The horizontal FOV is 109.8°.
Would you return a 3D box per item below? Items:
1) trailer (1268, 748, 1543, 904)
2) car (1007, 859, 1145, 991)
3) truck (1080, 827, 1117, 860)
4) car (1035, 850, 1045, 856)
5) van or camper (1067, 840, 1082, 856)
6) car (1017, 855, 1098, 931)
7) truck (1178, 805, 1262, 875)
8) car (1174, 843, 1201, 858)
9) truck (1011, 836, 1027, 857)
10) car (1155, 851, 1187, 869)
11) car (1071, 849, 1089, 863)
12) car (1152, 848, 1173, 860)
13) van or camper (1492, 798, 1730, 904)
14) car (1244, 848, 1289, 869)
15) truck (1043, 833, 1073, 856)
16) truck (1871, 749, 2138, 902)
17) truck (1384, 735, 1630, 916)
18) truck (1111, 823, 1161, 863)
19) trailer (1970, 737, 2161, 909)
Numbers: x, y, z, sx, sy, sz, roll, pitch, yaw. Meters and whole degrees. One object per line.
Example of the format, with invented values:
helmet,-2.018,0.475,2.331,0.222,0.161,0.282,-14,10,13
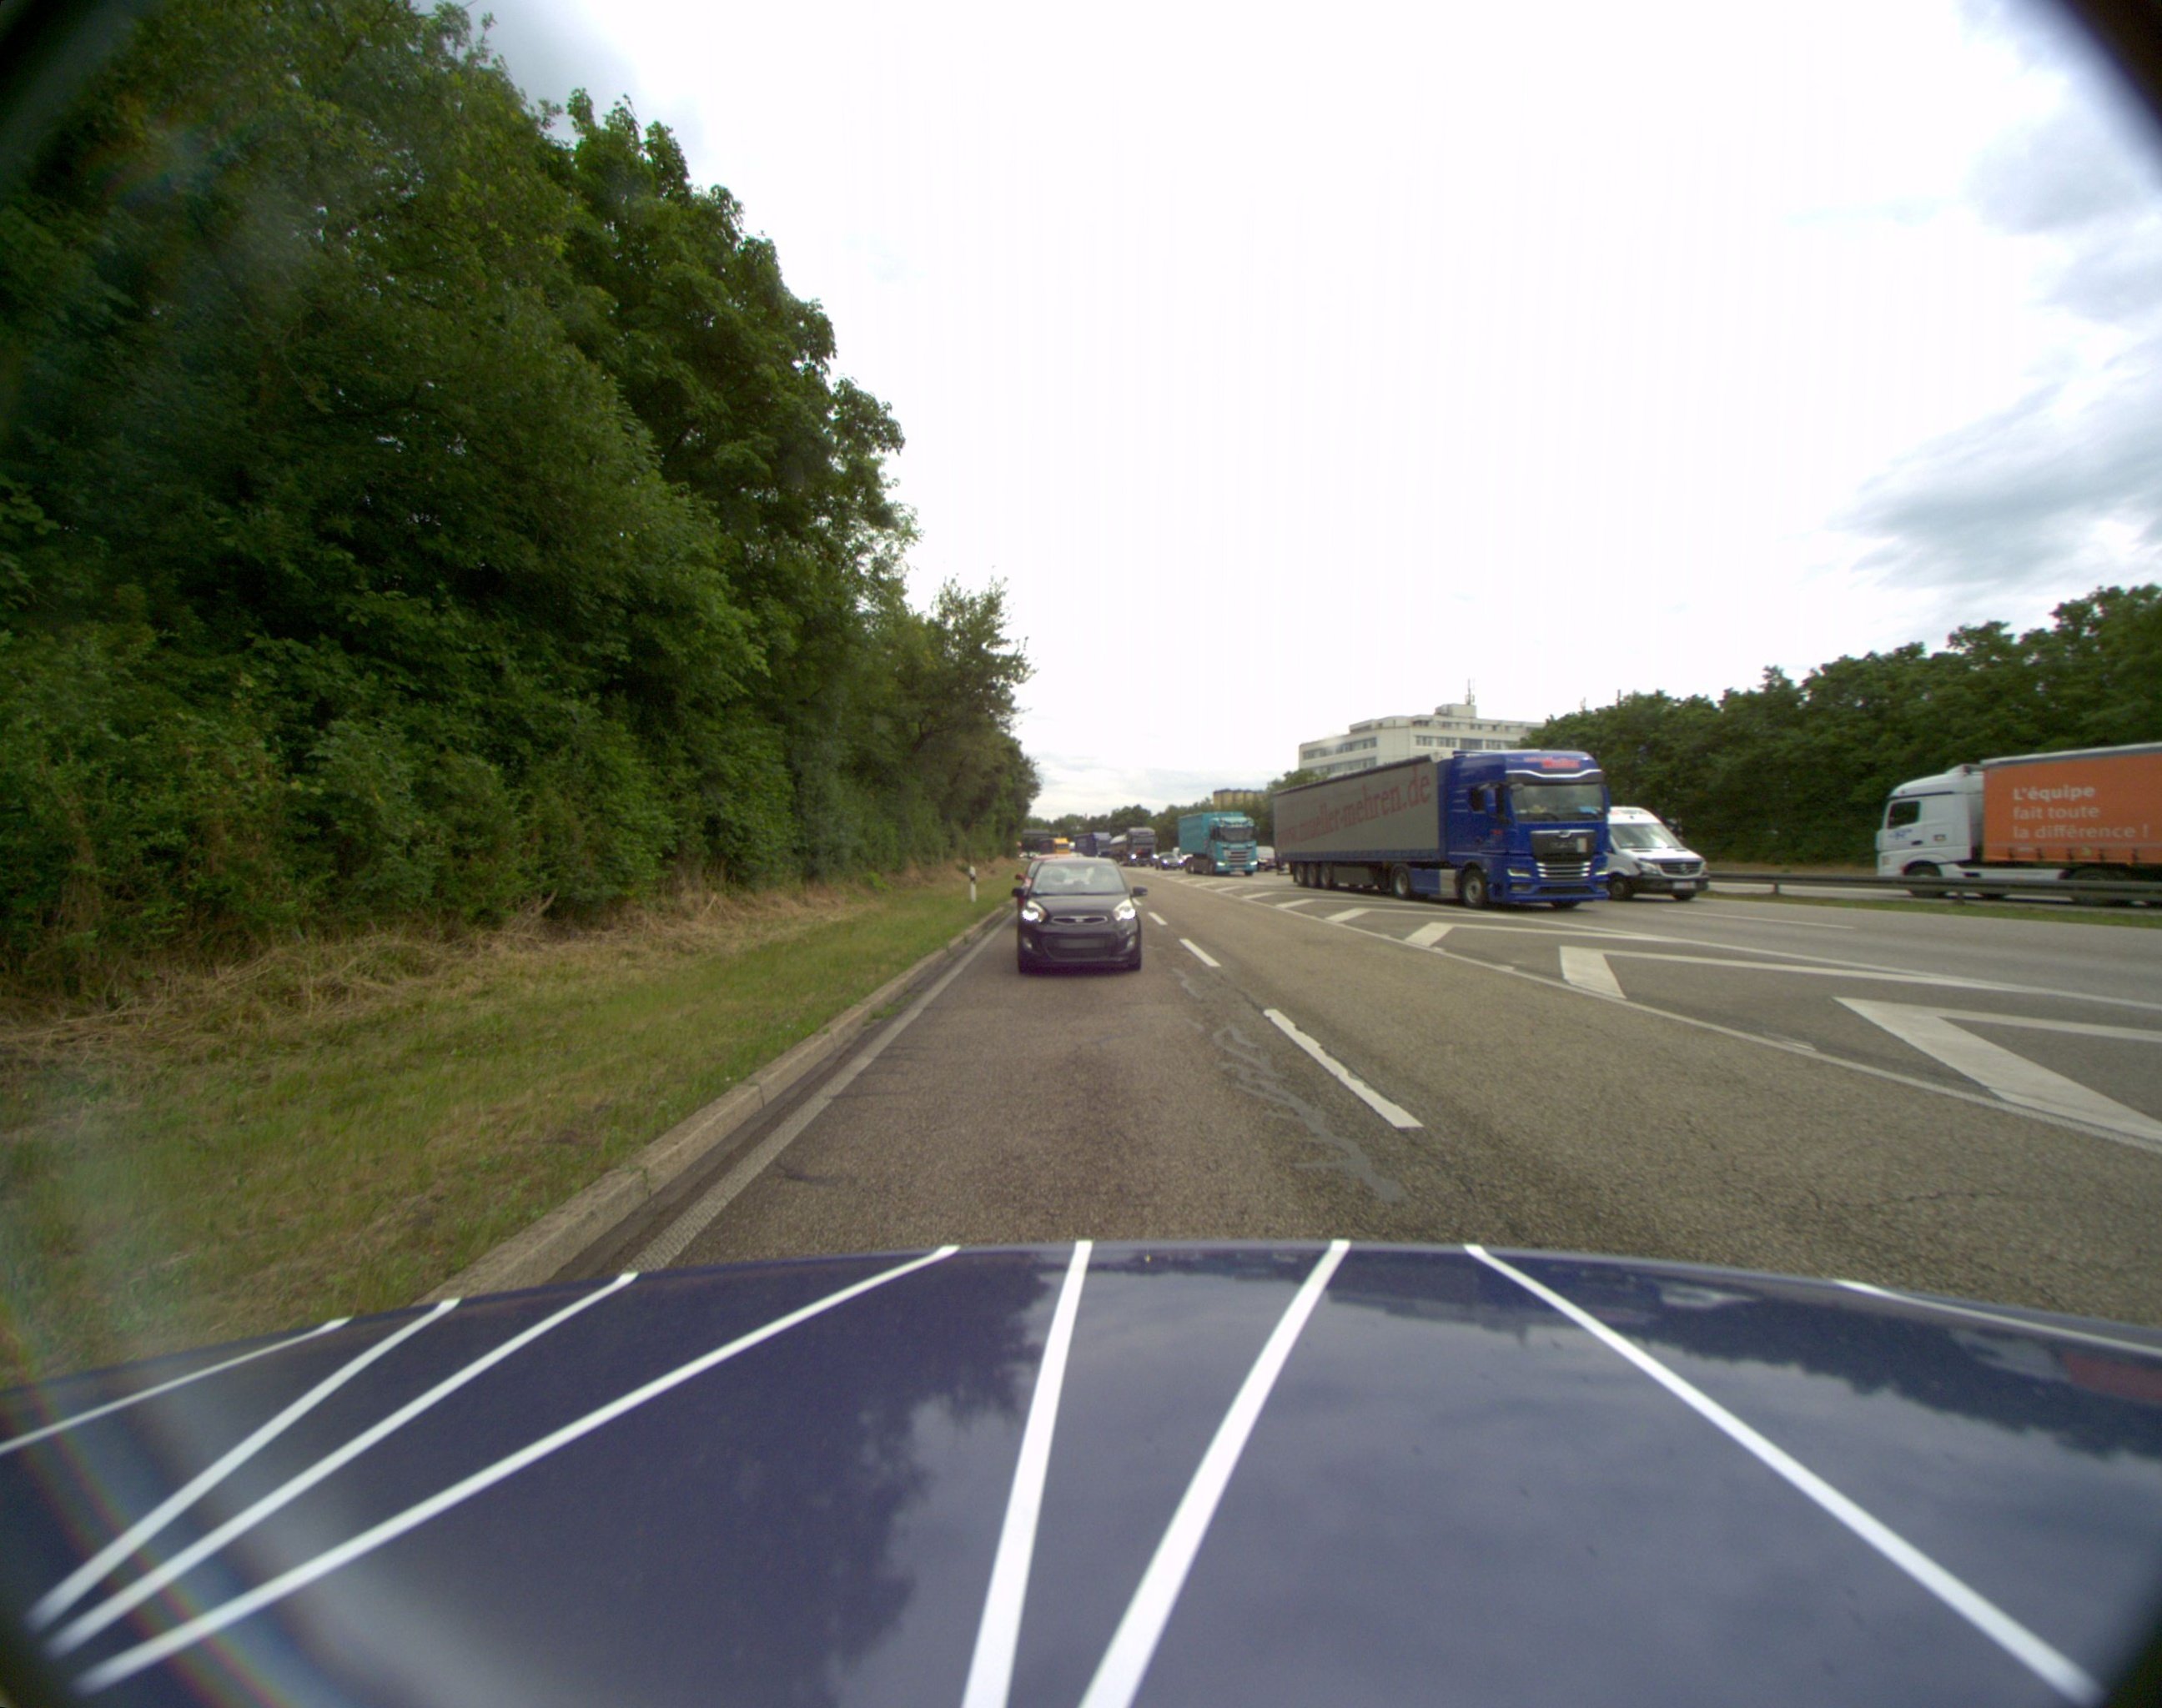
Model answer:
trailer,10.026,-0.773,26.350,2.681,3.952,13.913,-1,1,-4
car,-0.054,0.856,10.957,1.584,1.486,4.000,-1,0,0
truck,2.253,-1.362,105.196,2.815,4.206,13.995,-1,1,-8
car,-8.876,-0.189,162.795,1.636,1.328,3.192,-1,1,-12
van or camper,-1.272,-1.180,145.882,2.000,3.053,4.416,-1,1,-11
car,-0.511,0.801,17.287,1.631,1.492,3.563,0,1,-1
truck,8.642,-0.871,48.616,2.701,3.978,10.119,-1,1,-5
car,10.805,-0.342,77.061,1.898,1.425,4.053,0,1,-4
truck,-15.714,-1.838,190.454,2.848,5.071,14.108,-1,1,-9
car,7.339,0.468,62.183,1.758,1.314,3.997,-1,1,-6
car,-0.136,0.224,86.084,1.864,1.455,4.883,-1,1,-1
car,9.892,-0.028,92.860,1.999,1.474,3.247,-1,1,-5
van or camper,14.995,-0.096,22.284,2.054,2.606,6.954,-1,1,-1
car,12.880,0.287,52.989,1.898,1.425,3.998,0,1,-4
truck,-4.414,-1.730,142.087,2.849,4.206,14.103,-1,1,-13
truck,26.824,-0.784,22.353,2.957,4.068,3.999,-1,1,-2
truck,10.521,-0.656,19.571,2.676,3.938,5.924,-1,1,-4
truck,5.715,-1.147,81.454,3.329,3.903,13.138,-1,1,-5
trailer,27.138,-0.734,14.843,2.957,4.067,13.823,-1,0,-2
